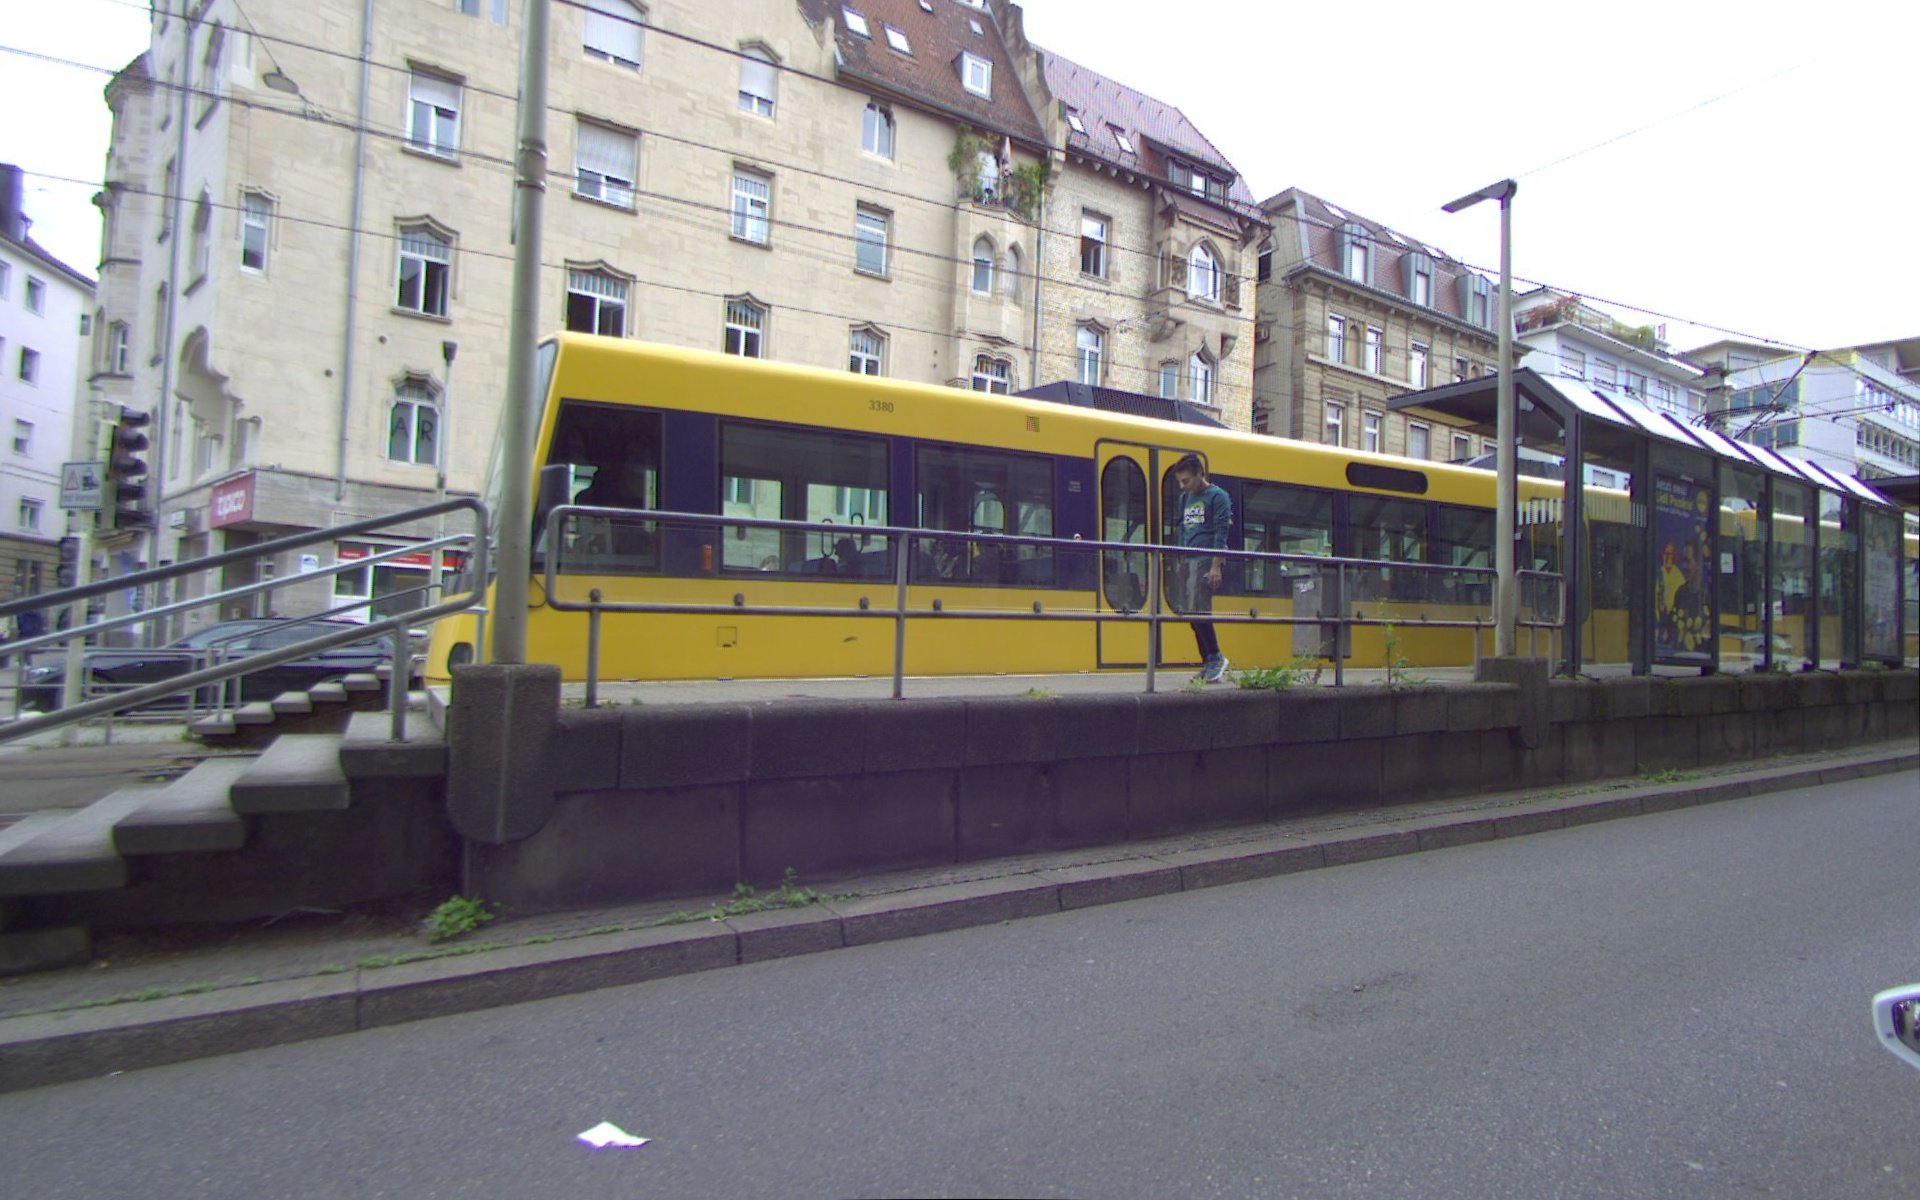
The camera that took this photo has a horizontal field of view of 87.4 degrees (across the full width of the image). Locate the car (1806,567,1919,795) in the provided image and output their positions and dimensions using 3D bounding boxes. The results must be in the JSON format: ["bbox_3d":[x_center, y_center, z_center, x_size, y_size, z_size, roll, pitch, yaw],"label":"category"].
[{"bbox_3d":[10.967,0.836,9.921,5.086,2.040,2.354,3,-1,-29],"label":"car"}]

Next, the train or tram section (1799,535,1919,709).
[{"bbox_3d":[22.754,0.552,23.651,5.834,3.715,2.799,2,-1,-31],"label":"train or tram section"}]

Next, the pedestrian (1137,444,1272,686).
[{"bbox_3d":[1.876,-0.242,7.750,0.663,1.753,0.714,3,-1,-29],"label":"pedestrian"}]

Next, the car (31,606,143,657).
[{"bbox_3d":[-32.321,1.208,37.302,1.610,1.768,3.772,1,-4,-16],"label":"car"}]

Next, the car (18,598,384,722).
[{"bbox_3d":[-10.755,0.861,14.675,3.952,1.595,1.899,3,-1,-29],"label":"car"}]

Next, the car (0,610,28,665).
[{"bbox_3d":[-30.378,1.118,30.377,1.610,1.705,3.772,1,-4,-16],"label":"car"}]

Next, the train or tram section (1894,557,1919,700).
[{"bbox_3d":[28.113,0.828,26.876,6.673,3.715,2.799,2,-1,-31],"label":"train or tram section"}]

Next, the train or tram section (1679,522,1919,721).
[{"bbox_3d":[17.801,0.470,20.687,5.685,3.567,2.821,2,-1,-31],"label":"train or tram section"}]

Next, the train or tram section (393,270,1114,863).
[{"bbox_3d":[-1.762,-0.135,8.994,5.685,3.727,2.821,2,-1,-31],"label":"train or tram section"}]

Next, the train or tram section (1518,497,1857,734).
[{"bbox_3d":[12.917,0.313,17.765,5.685,3.567,2.821,2,-1,-31],"label":"train or tram section"}]

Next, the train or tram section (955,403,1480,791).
[{"bbox_3d":[3.123,0.048,11.927,5.685,3.567,2.821,2,-1,-31],"label":"train or tram section"}]

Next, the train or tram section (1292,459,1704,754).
[{"bbox_3d":[8.003,0.155,14.850,5.685,3.567,2.821,2,-1,-31],"label":"train or tram section"}]
